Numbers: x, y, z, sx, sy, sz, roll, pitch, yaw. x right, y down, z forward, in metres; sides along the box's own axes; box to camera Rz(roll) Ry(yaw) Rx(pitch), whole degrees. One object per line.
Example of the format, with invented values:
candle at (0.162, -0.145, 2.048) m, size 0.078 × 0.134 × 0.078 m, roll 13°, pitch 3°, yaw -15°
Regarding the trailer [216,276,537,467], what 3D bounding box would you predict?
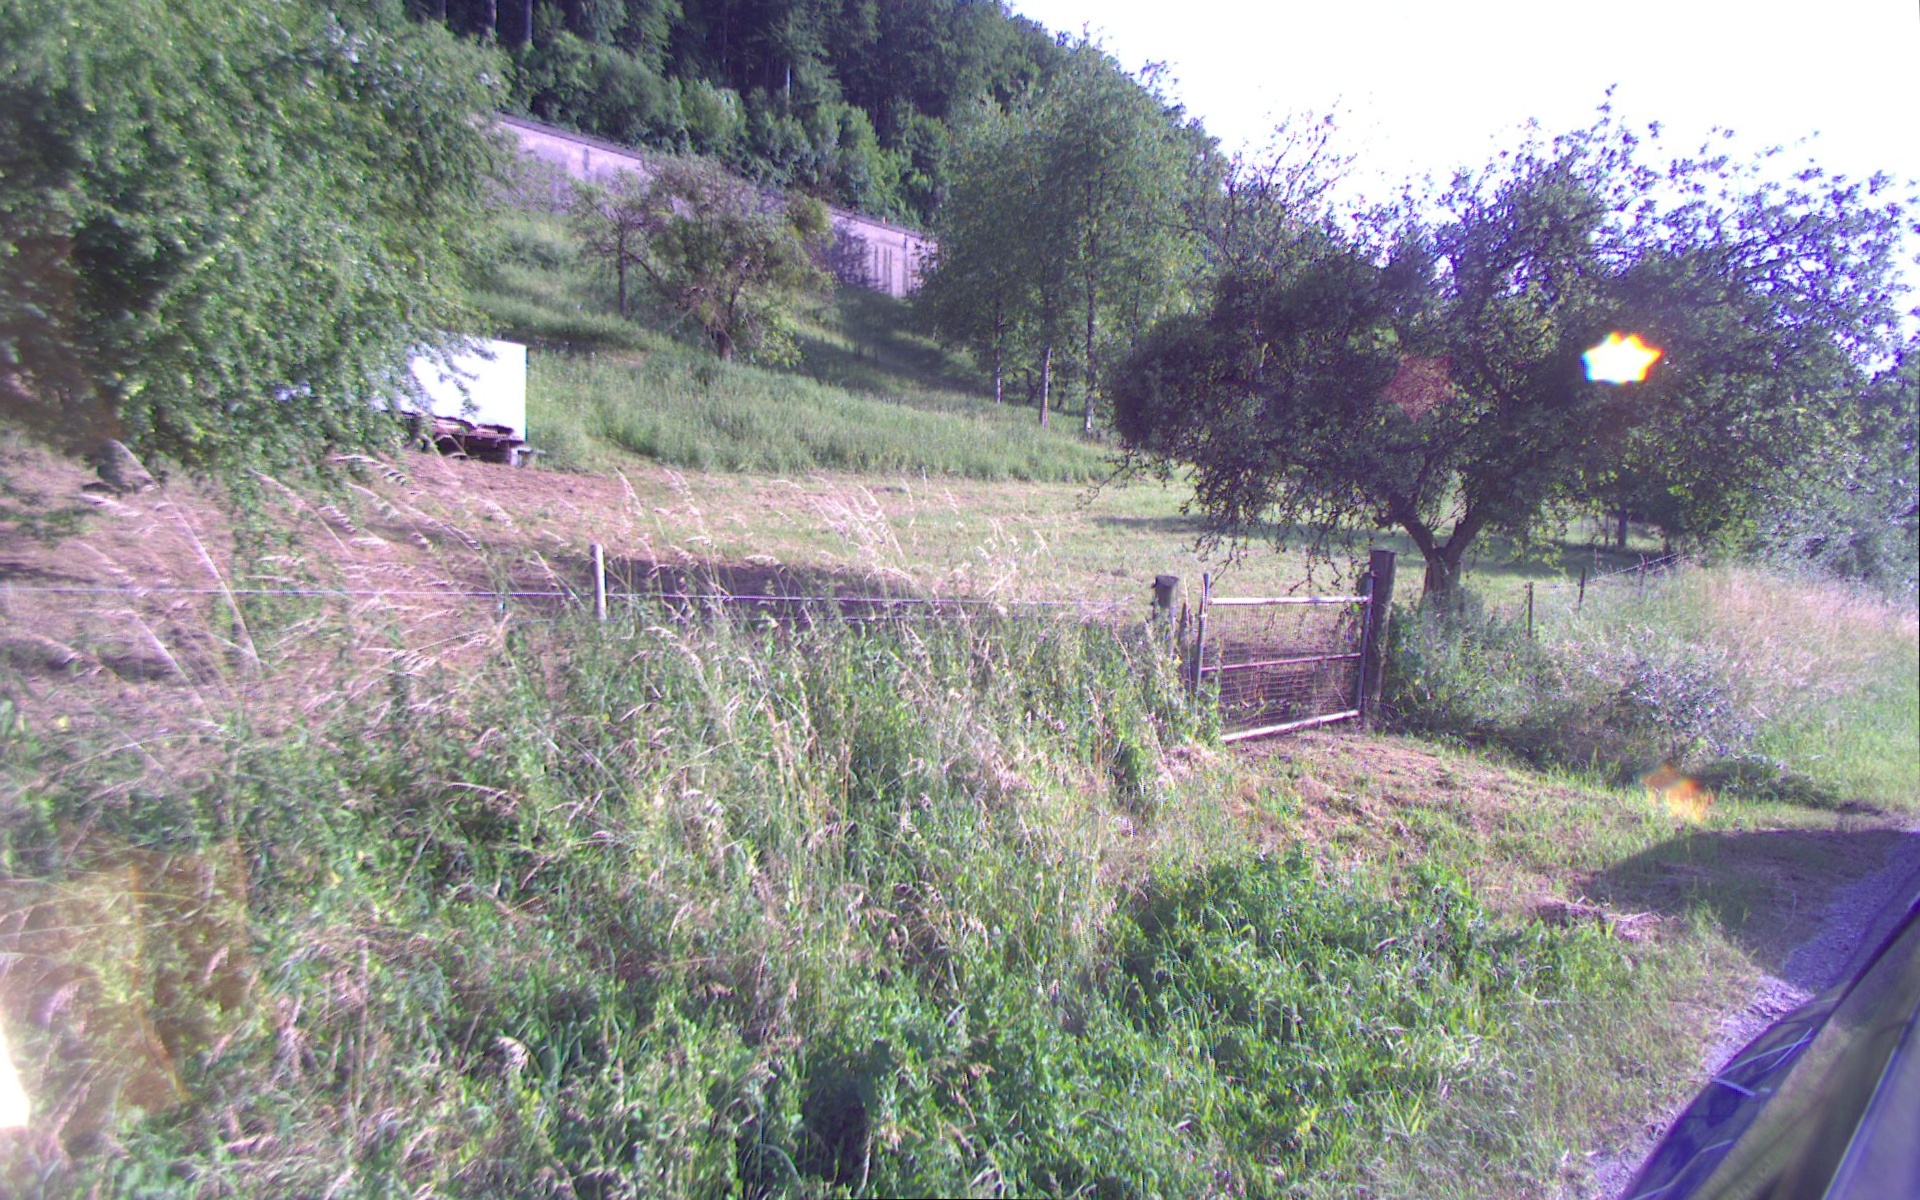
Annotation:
trailer at (-11.667, -4.388, 20.514) m, size 5.159 × 2.590 × 2.155 m, roll 4°, pitch 1°, yaw -44°
